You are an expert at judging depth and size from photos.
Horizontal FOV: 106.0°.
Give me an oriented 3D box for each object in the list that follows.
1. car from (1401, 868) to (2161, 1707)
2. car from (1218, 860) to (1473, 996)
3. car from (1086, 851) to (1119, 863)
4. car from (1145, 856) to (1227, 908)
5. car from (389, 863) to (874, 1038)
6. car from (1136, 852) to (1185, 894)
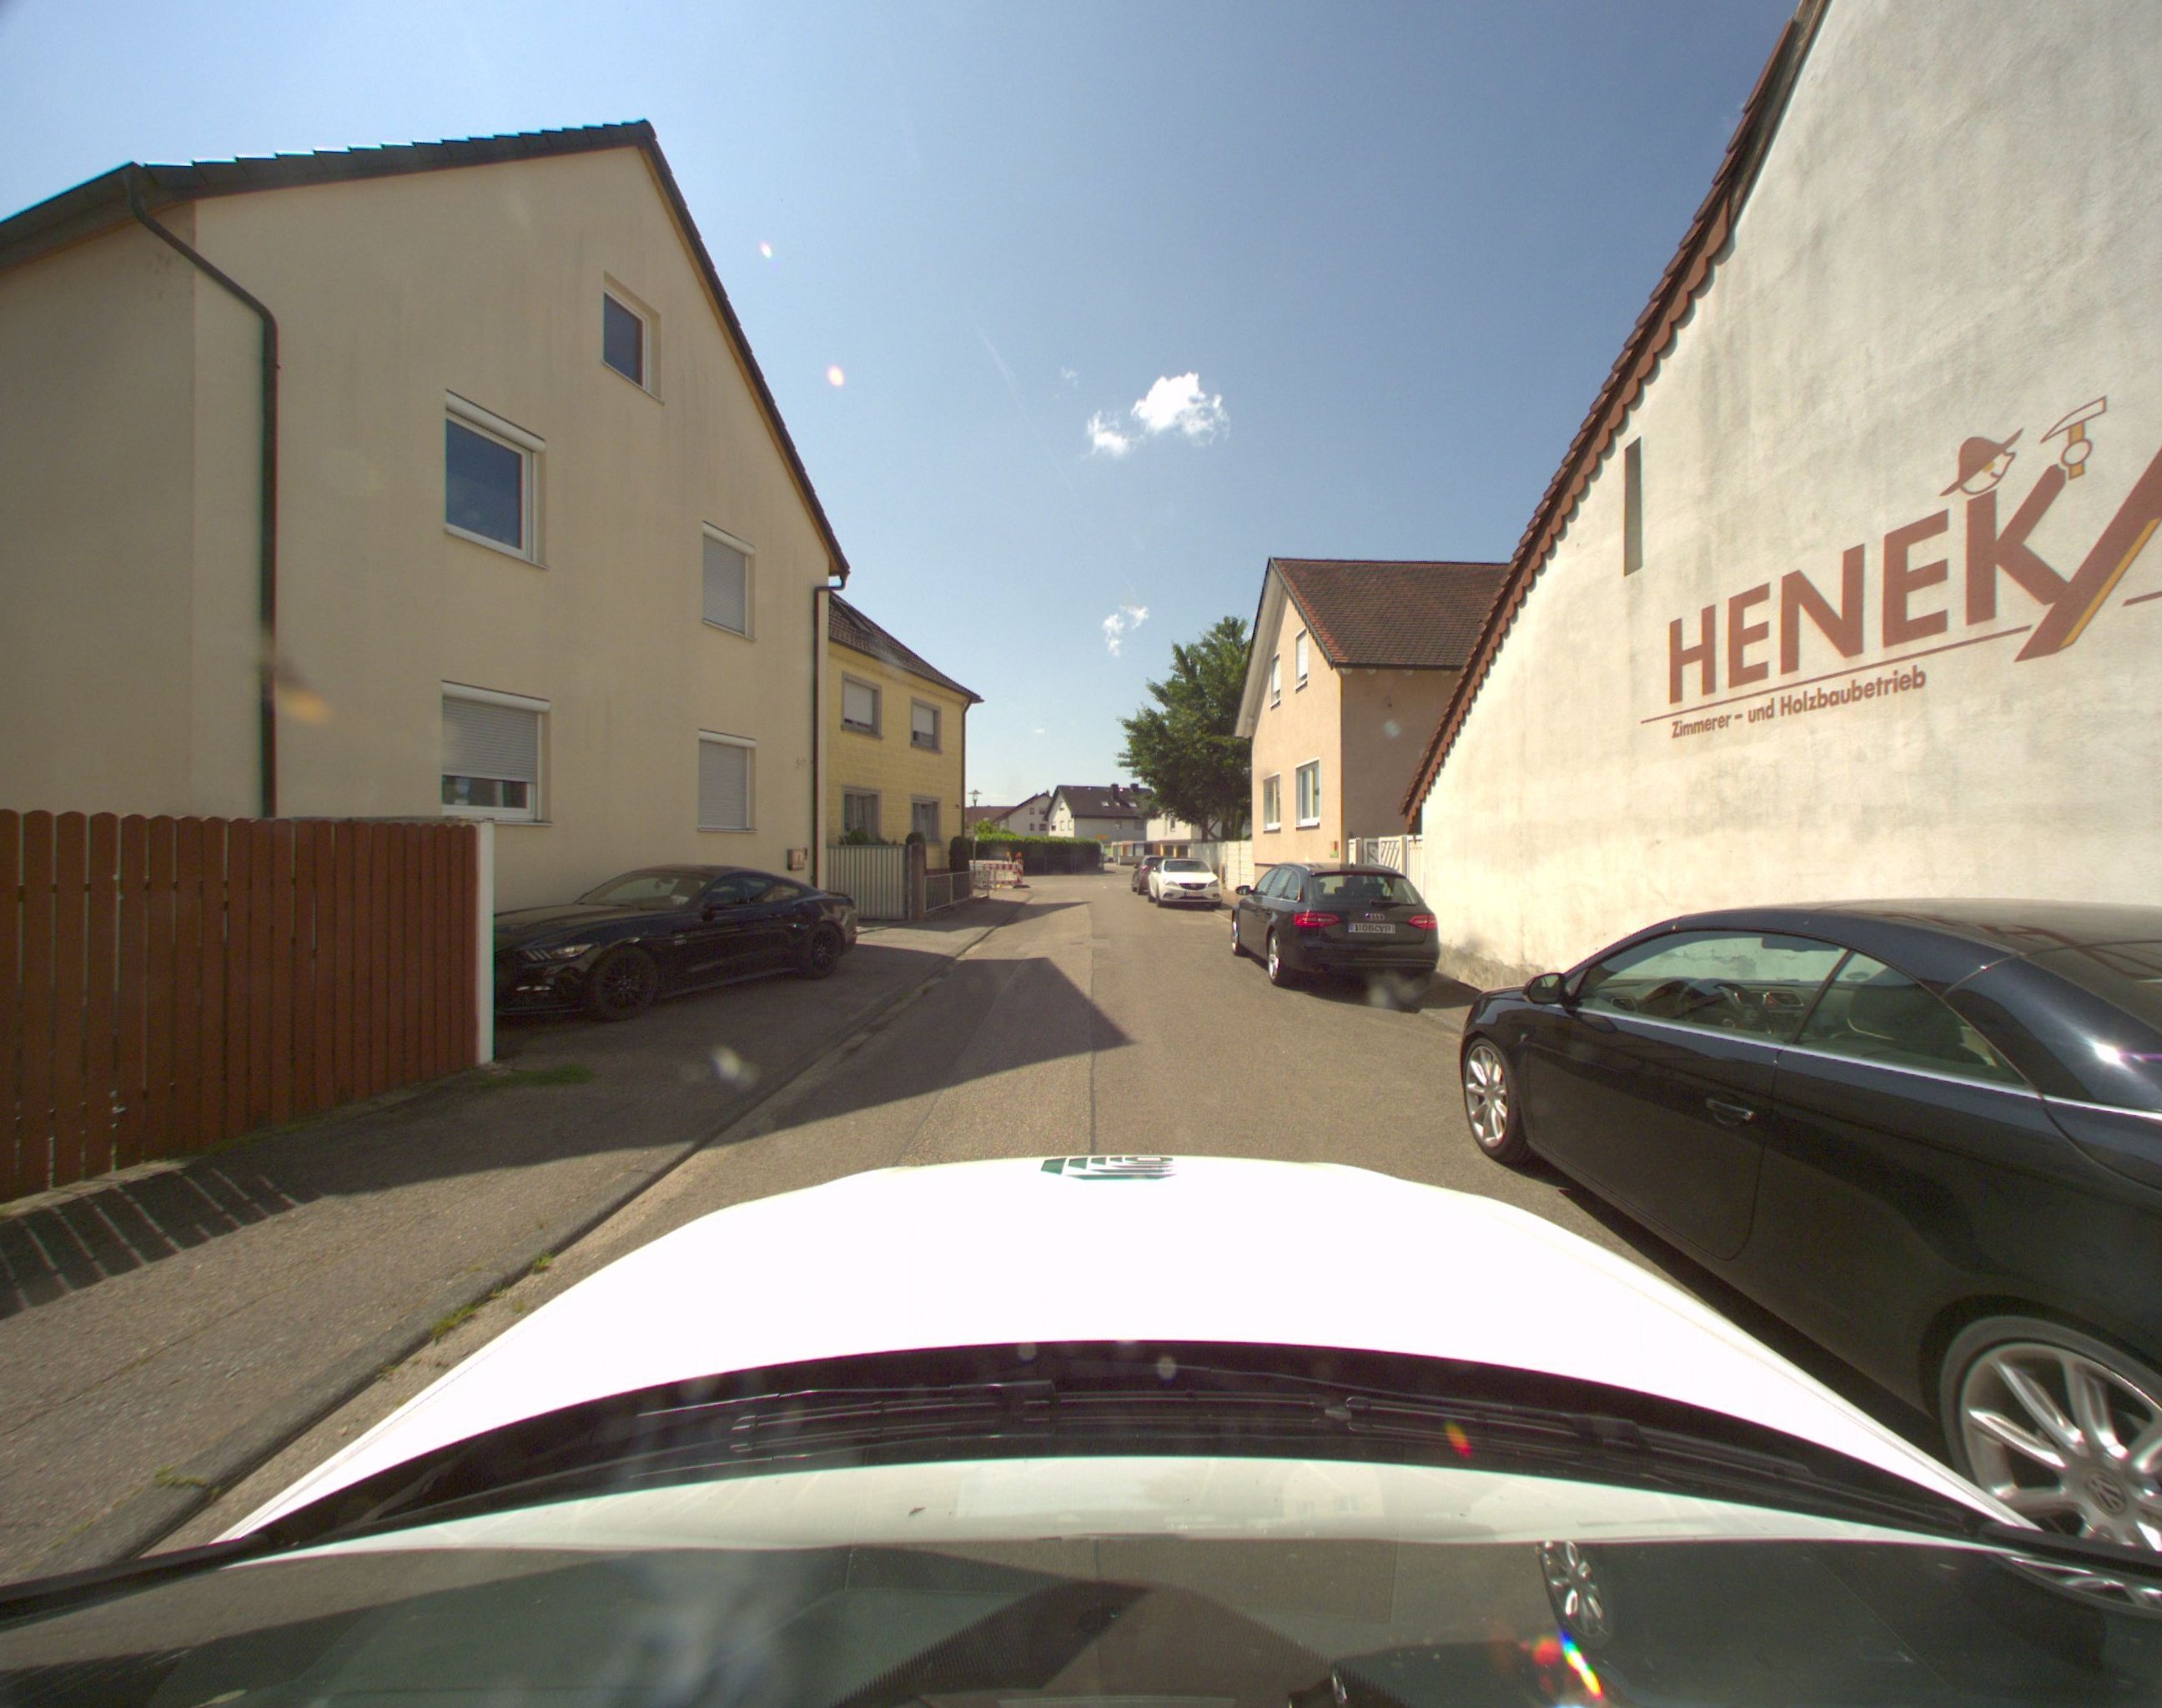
[{"bbox_3d":[2.857,0.776,2.907,1.888,1.365,4.417,0,0,3],"label":"car"},{"bbox_3d":[3.161,0.789,10.861,1.889,1.365,4.737,0,0,0],"label":"car"},{"bbox_3d":[2.585,0.414,97.647,3.613,1.408,1.771,0,0,-22],"label":"car"},{"bbox_3d":[3.102,0.772,24.946,1.889,1.428,4.736,0,0,0],"label":"car"},{"bbox_3d":[-4.302,0.783,8.779,1.755,1.349,4.492,1,0,20],"label":"car"},{"bbox_3d":[3.031,0.702,31.776,1.705,1.532,4.038,0,0,3],"label":"car"}]
